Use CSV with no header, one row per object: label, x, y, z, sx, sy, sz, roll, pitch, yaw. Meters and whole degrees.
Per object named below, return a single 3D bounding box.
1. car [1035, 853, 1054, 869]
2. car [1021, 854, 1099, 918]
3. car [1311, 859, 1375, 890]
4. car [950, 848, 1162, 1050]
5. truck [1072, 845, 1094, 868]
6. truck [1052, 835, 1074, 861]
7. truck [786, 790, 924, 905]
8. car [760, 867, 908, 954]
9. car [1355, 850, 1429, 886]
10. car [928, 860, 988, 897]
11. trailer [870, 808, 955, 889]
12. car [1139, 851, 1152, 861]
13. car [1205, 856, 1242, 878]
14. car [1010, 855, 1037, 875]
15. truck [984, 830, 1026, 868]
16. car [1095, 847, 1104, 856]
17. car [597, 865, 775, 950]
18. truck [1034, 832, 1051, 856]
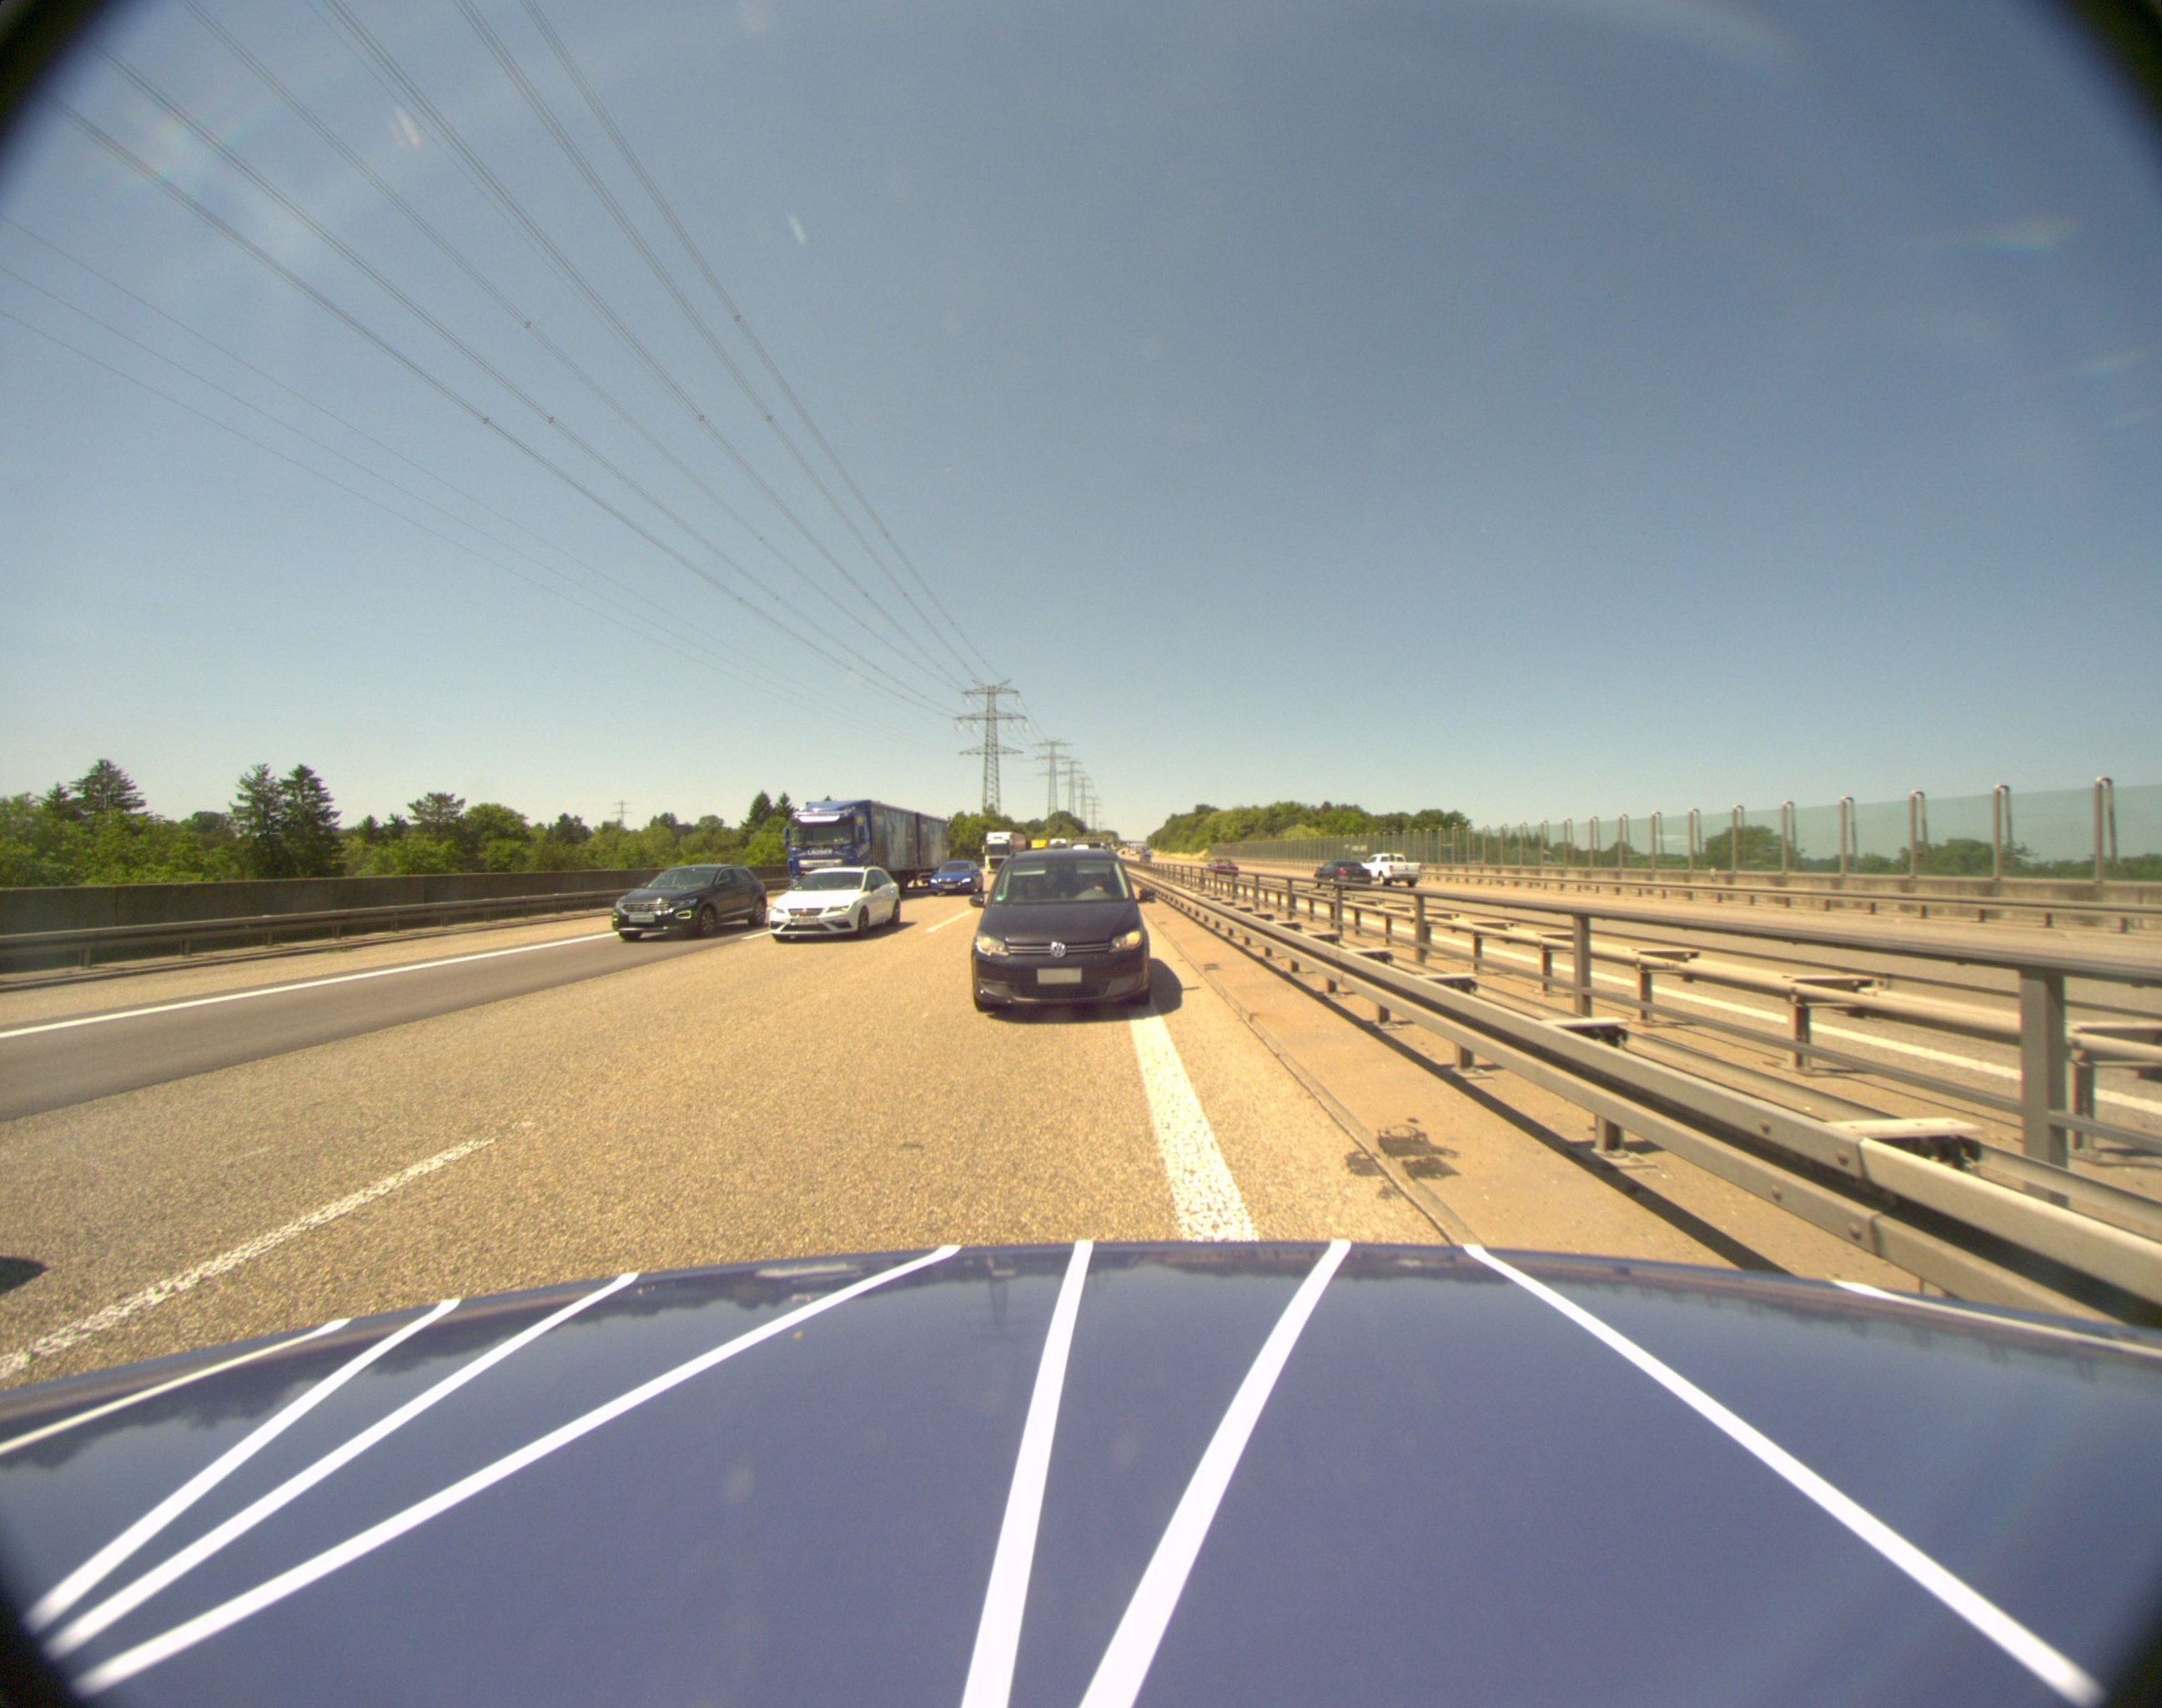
car,-3.626,0.694,76.064,1.763,1.495,4.094,-1,0,0
car,-0.483,0.785,20.592,1.845,1.495,4.377,-1,0,1
car,12.367,0.930,36.101,1.601,1.342,4.179,1,0,1
car,-0.196,0.795,8.432,1.740,1.652,3.999,-2,1,0
truck,0.227,0.255,84.639,2.284,2.479,5.861,-2,0,1
truck,-2.780,-0.988,119.145,2.980,3.832,10.561,-2,1,1
truck,-9.182,-0.285,32.521,2.529,4.043,10.446,-2,1,1
car,-5.111,1.098,16.327,1.843,1.481,4.071,-2,0,-1
car,17.468,0.749,42.985,1.998,1.874,5.256,2,0,0
car,-5.265,1.020,33.004,1.739,1.437,4.211,-1,0,2
trailer,-9.076,-0.278,42.026,2.572,3.921,8.479,-2,0,1
car,11.100,0.296,130.189,1.810,1.618,4.477,-2,0,0
car,9.217,0.815,49.397,1.601,1.310,4.341,1,0,0
car,-4.527,0.829,60.321,1.763,1.495,4.094,-2,0,0
truck,-7.754,-0.514,78.926,2.985,3.538,10.967,-2,1,1
car,4.234,-0.530,177.818,1.998,2.002,4.000,-2,1,1
car,-8.605,1.085,17.032,1.740,1.518,4.106,-2,0,1
truck,-6.645,-1.697,131.622,2.346,4.058,8.278,-2,1,1
